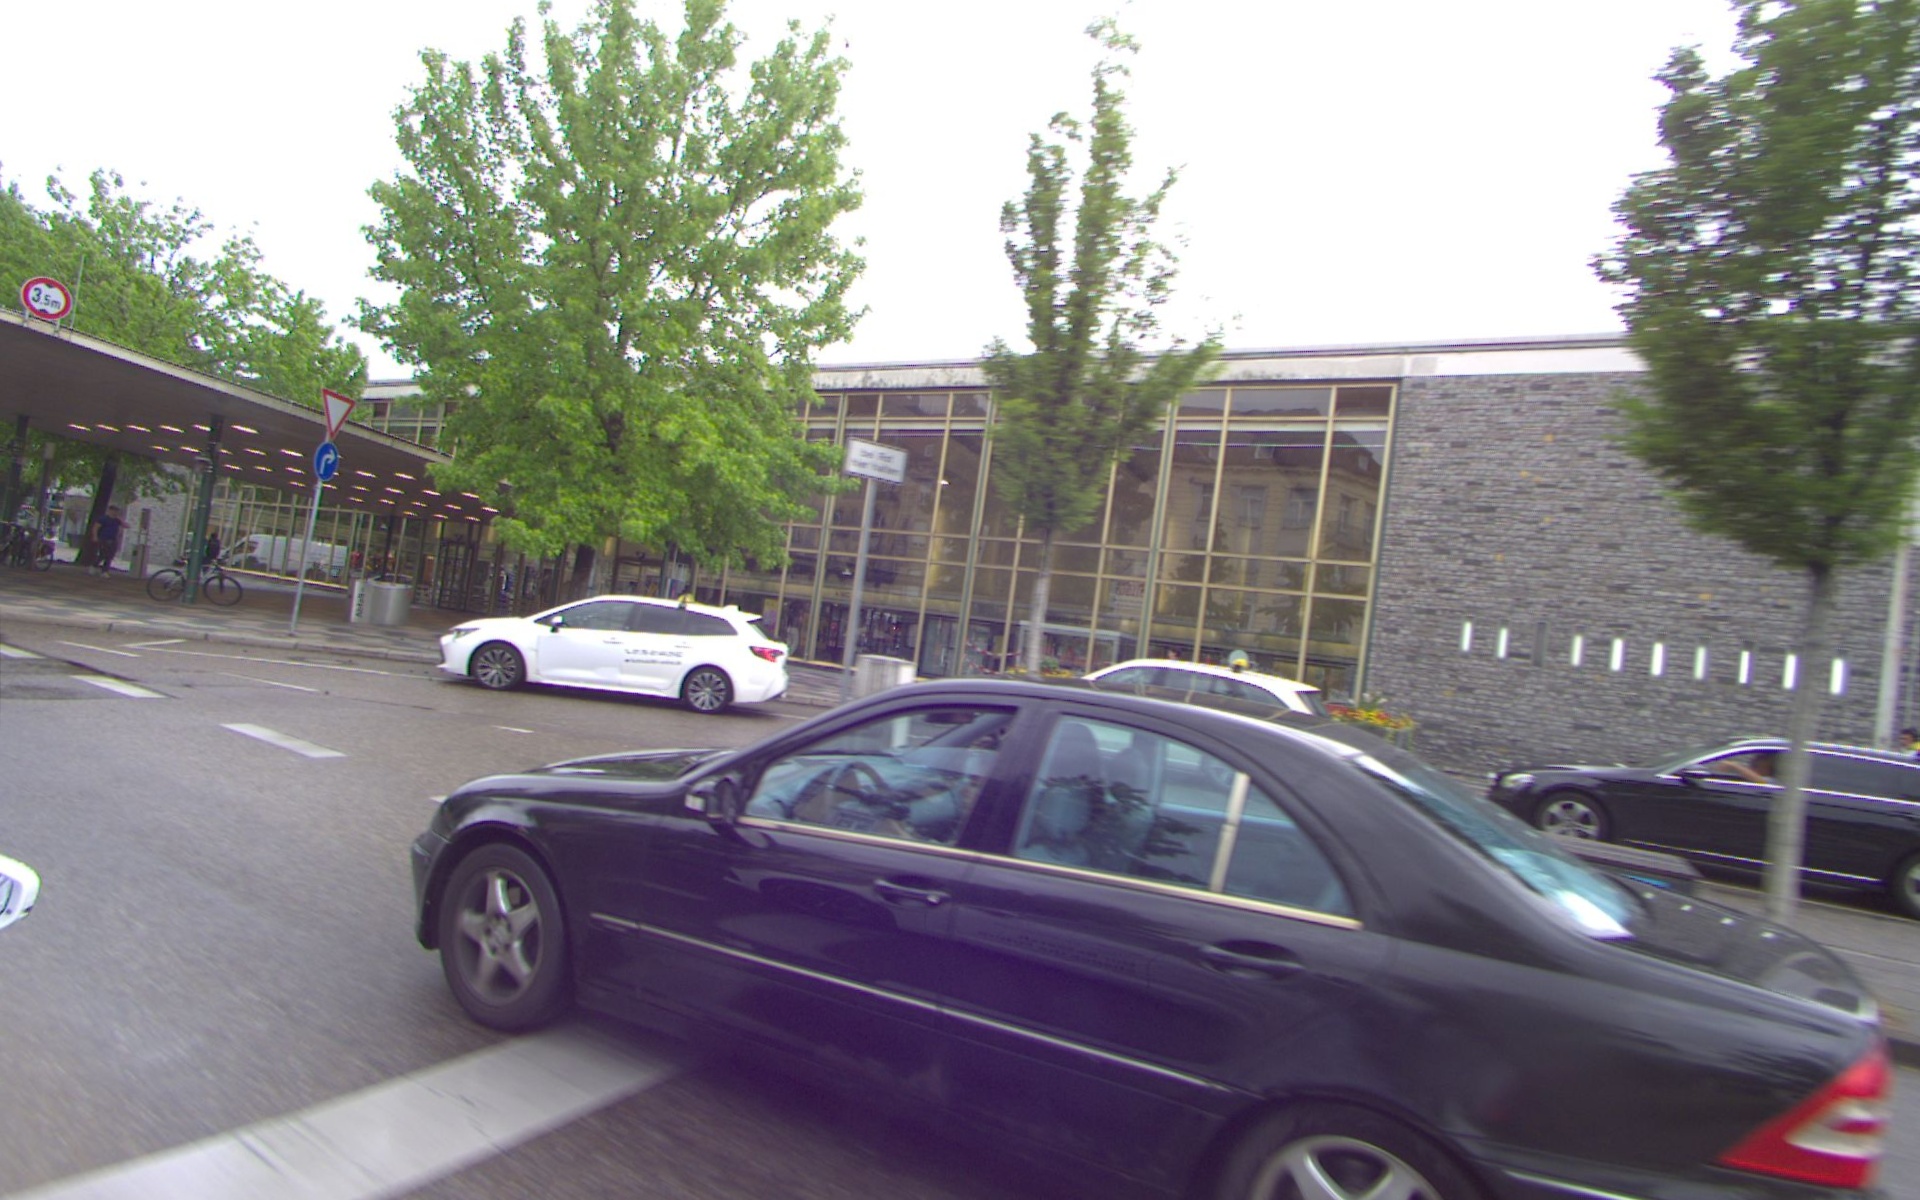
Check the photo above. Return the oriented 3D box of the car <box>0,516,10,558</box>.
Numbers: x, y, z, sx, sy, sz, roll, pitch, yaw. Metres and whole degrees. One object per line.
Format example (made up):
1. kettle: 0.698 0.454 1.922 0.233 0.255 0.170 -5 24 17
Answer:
1. car: -35.235 -2.456 34.146 1.829 1.459 4.005 6 -2 5

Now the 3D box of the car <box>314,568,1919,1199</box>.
1. car: 0.088 0.883 3.384 4.373 1.483 1.699 6 -1 26

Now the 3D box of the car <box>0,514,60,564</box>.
1. car: -30.213 -2.066 30.368 1.805 1.340 4.205 6 -2 12

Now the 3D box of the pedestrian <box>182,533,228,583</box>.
1. pedestrian: -26.020 -1.451 34.662 0.799 1.578 0.867 6 0 25

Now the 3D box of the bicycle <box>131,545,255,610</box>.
1. bicycle: -14.849 -0.411 19.534 0.413 1.068 1.830 6 -1 31

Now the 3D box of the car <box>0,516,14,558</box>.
1. car: -33.256 -2.312 32.288 1.830 1.374 4.004 7 -2 1

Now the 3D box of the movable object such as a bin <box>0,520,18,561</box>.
1. movable object such as a bin: -26.412 -1.654 27.432 0.735 1.080 0.753 6 0 23

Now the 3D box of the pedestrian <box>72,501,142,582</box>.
1. pedestrian: -21.138 -1.445 24.941 1.170 1.857 0.858 5 -1 31

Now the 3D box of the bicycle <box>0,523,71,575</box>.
1. bicycle: -21.999 -1.205 23.535 0.412 1.068 1.835 6 -1 14

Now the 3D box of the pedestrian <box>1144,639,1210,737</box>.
1. pedestrian: 3.917 1.574 18.183 0.784 1.646 0.721 6 0 -13

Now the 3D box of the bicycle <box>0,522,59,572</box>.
1. bicycle: -22.427 -1.269 23.671 0.412 1.068 1.835 6 -1 14

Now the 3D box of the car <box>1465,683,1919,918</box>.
1. car: 8.168 2.047 10.567 4.875 1.618 1.998 6 -2 31

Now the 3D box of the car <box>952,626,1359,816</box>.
1. car: 2.588 1.466 13.383 4.868 1.619 1.999 7 0 24

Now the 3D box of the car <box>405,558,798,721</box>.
1. car: -4.694 0.557 13.841 4.695 1.564 1.762 7 -2 -8

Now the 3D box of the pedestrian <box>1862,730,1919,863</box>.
1. pedestrian: 13.084 2.702 13.740 0.762 1.687 0.646 7 0 10

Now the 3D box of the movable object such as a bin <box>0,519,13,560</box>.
1. movable object such as a bin: -27.168 -1.740 28.075 0.735 1.108 0.754 6 0 20
